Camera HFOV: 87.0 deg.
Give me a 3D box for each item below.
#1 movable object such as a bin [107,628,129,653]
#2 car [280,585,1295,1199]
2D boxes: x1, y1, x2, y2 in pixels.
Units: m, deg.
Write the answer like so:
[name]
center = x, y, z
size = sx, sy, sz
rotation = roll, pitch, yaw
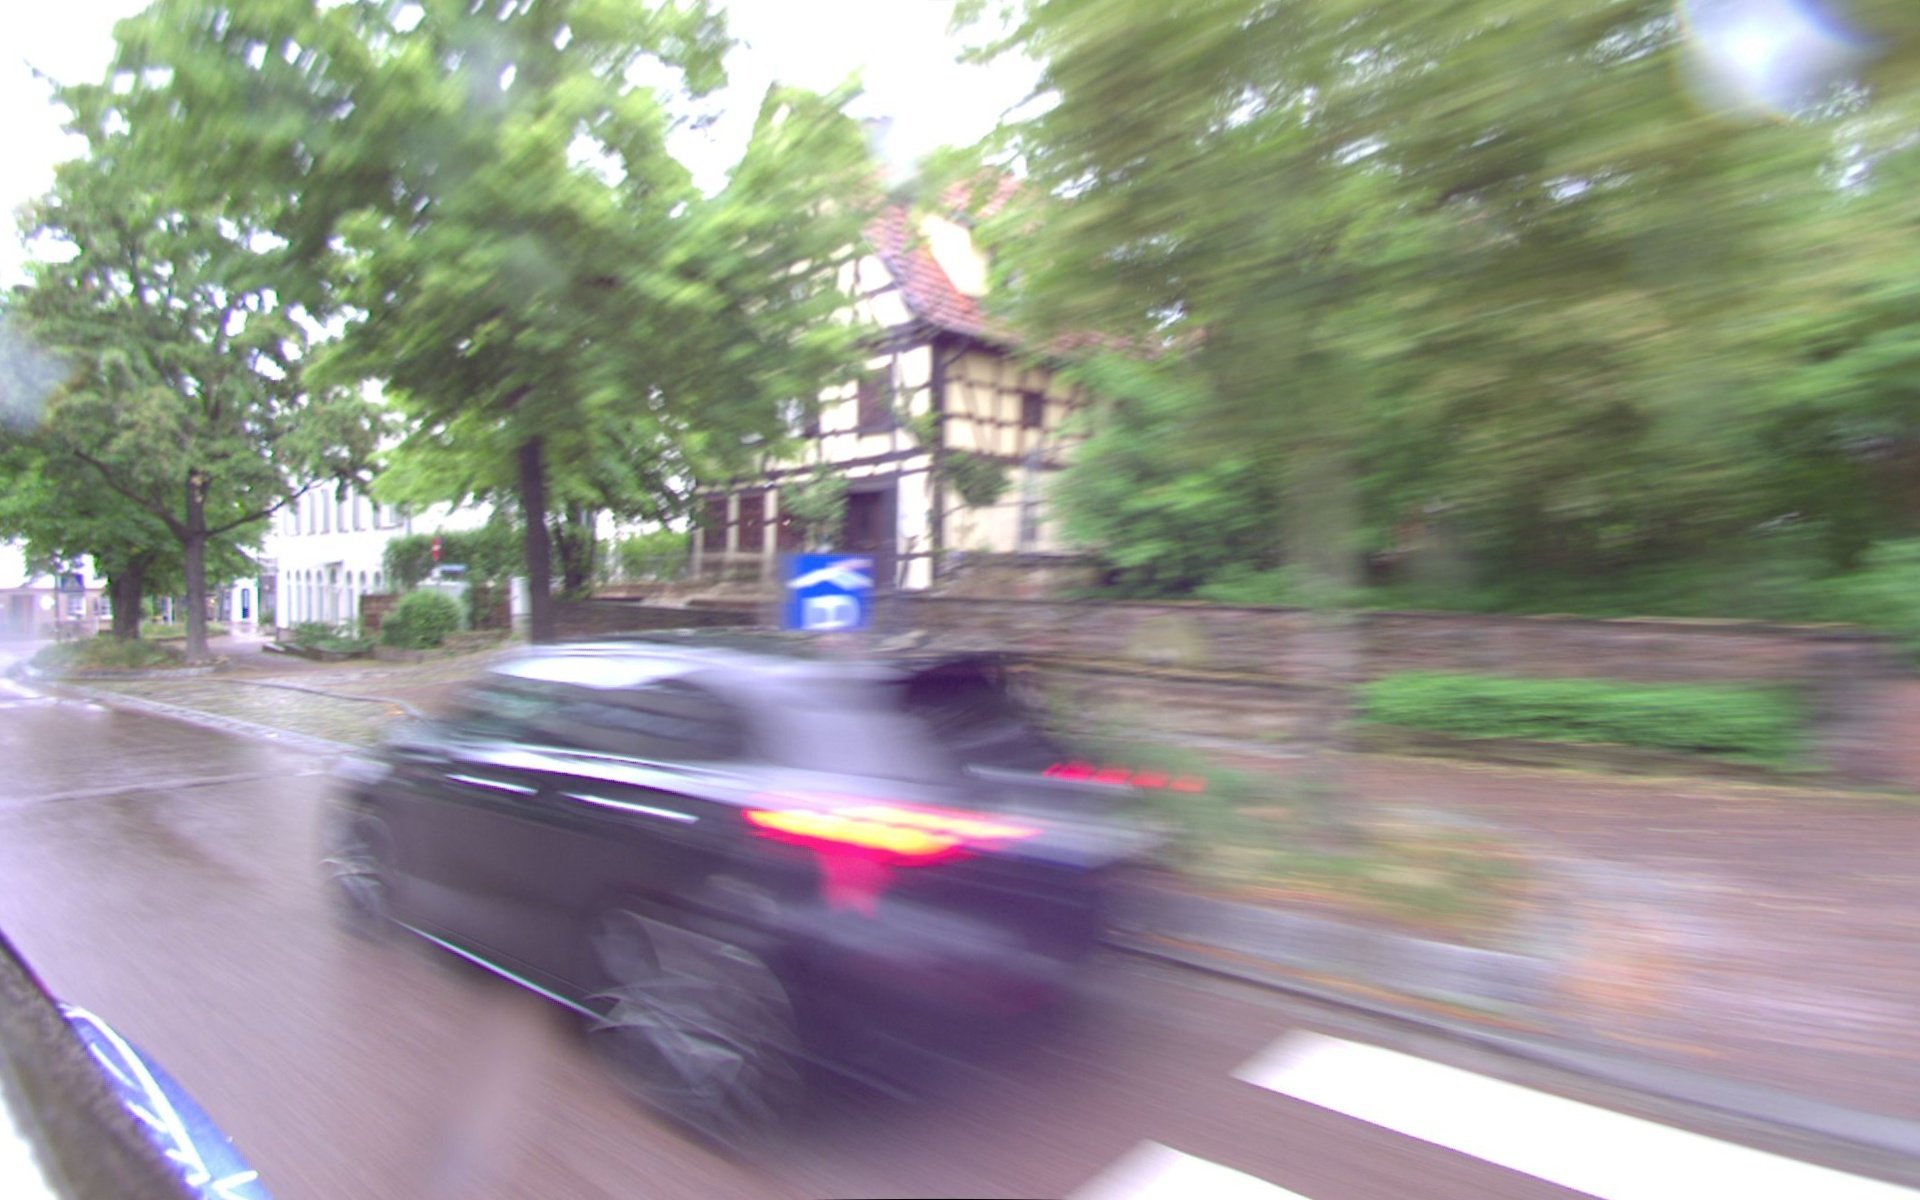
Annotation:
[movable object such as a bin]
center = -37.622, 1.799, 45.228
size = 0.625, 1.067, 0.700
rotation = 1, -1, -30
[car]
center = -1.124, 0.735, 4.233
size = 4.408, 1.395, 1.836
rotation = -2, 1, 43
